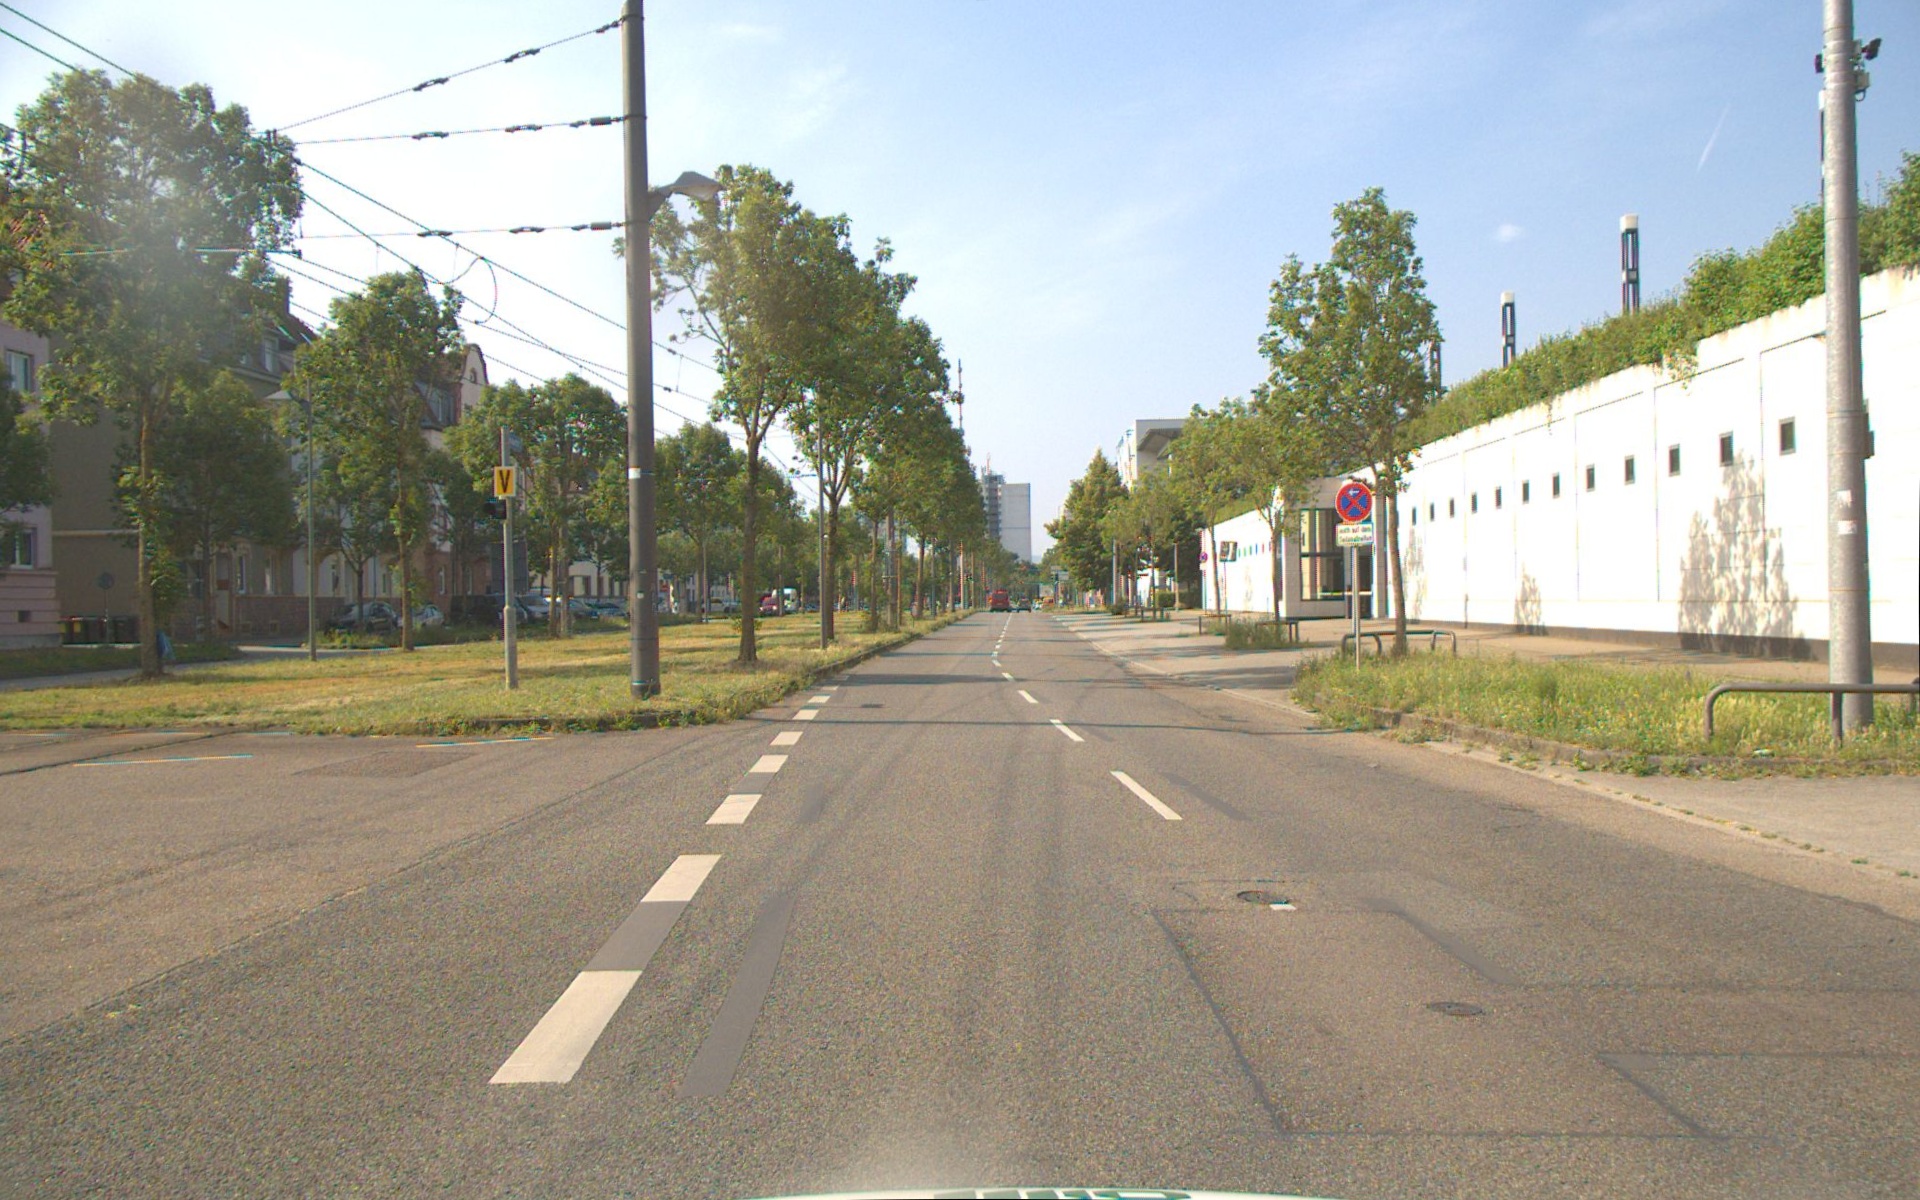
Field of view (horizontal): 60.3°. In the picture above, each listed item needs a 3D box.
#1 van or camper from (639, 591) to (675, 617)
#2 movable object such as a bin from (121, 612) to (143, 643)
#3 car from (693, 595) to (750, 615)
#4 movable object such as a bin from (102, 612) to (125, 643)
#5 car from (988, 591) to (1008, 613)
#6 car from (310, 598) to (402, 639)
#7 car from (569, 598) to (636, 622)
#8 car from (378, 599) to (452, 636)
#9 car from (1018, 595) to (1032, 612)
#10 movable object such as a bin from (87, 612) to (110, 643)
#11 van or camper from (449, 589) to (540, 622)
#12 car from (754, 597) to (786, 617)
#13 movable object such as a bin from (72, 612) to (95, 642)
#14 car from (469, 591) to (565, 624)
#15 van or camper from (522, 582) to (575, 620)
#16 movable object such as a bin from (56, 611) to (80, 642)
[{"bbox_3d":[-28.426,0.360,155.440,1.952,2.369,5.830,1,0,4],"label":"van or camper"},{"bbox_3d":[-33.687,1.121,67.283,0.573,1.232,0.640,1,0,1],"label":"movable object such as a bin"},{"bbox_3d":[-21.702,0.451,150.180,5.221,1.768,1.992,1,0,36],"label":"car"},{"bbox_3d":[-34.406,1.109,67.204,0.573,1.232,0.640,1,0,1],"label":"movable object such as a bin"},{"bbox_3d":[3.552,0.207,154.707,1.712,2.049,3.217,1,0,3],"label":"car"},{"bbox_3d":[-26.337,0.769,72.293,1.952,1.657,4.777,1,0,4],"label":"car"},{"bbox_3d":[-22.580,0.630,104.494,3.904,1.442,1.577,1,0,19],"label":"car"},{"bbox_3d":[-25.877,0.828,78.727,1.850,1.657,4.158,1,0,5],"label":"car"},{"bbox_3d":[8.278,0.465,211.760,1.712,2.049,3.217,1,0,3],"label":"car"},{"bbox_3d":[-35.024,1.100,67.229,0.573,1.232,0.640,1,0,1],"label":"movable object such as a bin"},{"bbox_3d":[-24.126,0.279,85.718,4.752,1.652,1.996,1,0,35],"label":"van or camper"},{"bbox_3d":[-16.570,0.618,144.562,1.923,1.723,4.300,1,0,6],"label":"car"},{"bbox_3d":[-35.626,1.090,67.225,0.573,1.232,0.640,1,0,1],"label":"movable object such as a bin"},{"bbox_3d":[-23.670,0.399,88.282,5.112,1.652,2.051,1,0,33],"label":"car"},{"bbox_3d":[-29.259,0.103,117.735,1.997,2.612,6.358,1,0,1],"label":"van or camper"},{"bbox_3d":[-36.261,1.080,67.242,0.573,1.232,0.640,1,0,1],"label":"movable object such as a bin"}]
